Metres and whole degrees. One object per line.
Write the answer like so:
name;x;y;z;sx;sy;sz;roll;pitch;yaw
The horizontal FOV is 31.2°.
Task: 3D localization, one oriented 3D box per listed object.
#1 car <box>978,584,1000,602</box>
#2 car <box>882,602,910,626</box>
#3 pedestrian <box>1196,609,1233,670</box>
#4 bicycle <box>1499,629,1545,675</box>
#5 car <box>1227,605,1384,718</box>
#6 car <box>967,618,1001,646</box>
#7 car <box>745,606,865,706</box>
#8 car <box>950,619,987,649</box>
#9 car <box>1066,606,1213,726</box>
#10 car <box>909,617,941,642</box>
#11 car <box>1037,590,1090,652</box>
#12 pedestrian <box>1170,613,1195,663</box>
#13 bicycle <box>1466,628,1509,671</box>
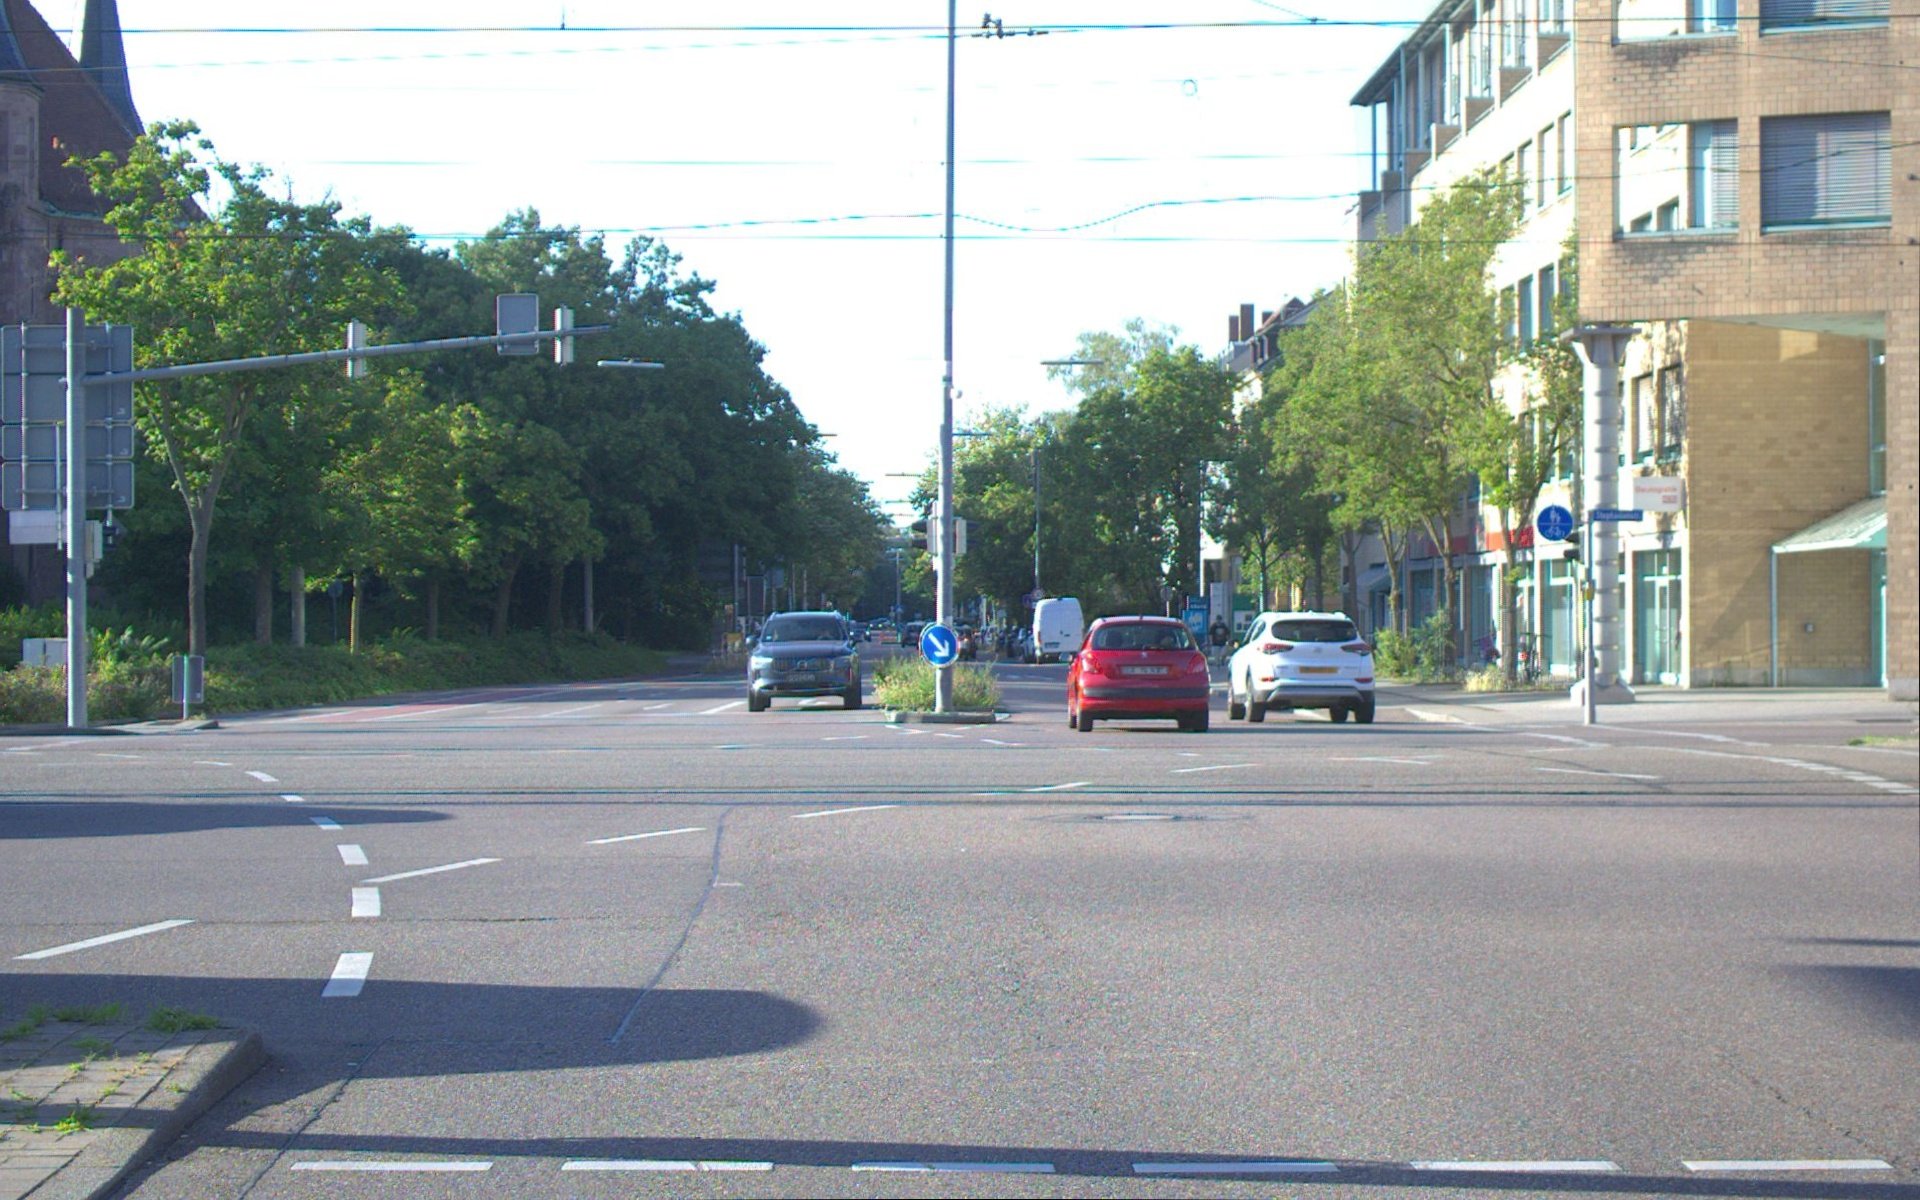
car;2.105;-0.524;251.365;1.594;1.263;3.266;0;0;0
car;-4.572;1.035;247.027;1.886;1.665;4.000;1;0;0
pedestrian;8.246;1.274;111.616;1.107;1.969;1.161;0;0;0
bicycle;12.419;1.140;76.020;0.646;0.991;2.081;0;0;-1
car;5.195;0.906;52.222;1.916;1.602;4.269;1;0;0
car;1.121;1.482;161.331;1.594;1.263;3.266;0;0;0
car;-2.740;1.011;61.822;1.993;1.718;5.031;0;-1;-1
car;0.375;1.489;149.453;1.594;1.263;3.266;0;0;0
car;2.300;0.827;44.858;1.670;1.457;4.000;1;0;0
car;-1.760;1.490;175.733;1.594;1.263;3.266;0;0;0
car;4.231;0.861;140.435;1.993;2.432;4.000;1;0;0
pedestrian;8.192;1.398;126.487;0.847;1.797;0.776;0;0;0
bicycle;12.370;1.152;80.686;0.646;0.991;2.081;0;0;-1
